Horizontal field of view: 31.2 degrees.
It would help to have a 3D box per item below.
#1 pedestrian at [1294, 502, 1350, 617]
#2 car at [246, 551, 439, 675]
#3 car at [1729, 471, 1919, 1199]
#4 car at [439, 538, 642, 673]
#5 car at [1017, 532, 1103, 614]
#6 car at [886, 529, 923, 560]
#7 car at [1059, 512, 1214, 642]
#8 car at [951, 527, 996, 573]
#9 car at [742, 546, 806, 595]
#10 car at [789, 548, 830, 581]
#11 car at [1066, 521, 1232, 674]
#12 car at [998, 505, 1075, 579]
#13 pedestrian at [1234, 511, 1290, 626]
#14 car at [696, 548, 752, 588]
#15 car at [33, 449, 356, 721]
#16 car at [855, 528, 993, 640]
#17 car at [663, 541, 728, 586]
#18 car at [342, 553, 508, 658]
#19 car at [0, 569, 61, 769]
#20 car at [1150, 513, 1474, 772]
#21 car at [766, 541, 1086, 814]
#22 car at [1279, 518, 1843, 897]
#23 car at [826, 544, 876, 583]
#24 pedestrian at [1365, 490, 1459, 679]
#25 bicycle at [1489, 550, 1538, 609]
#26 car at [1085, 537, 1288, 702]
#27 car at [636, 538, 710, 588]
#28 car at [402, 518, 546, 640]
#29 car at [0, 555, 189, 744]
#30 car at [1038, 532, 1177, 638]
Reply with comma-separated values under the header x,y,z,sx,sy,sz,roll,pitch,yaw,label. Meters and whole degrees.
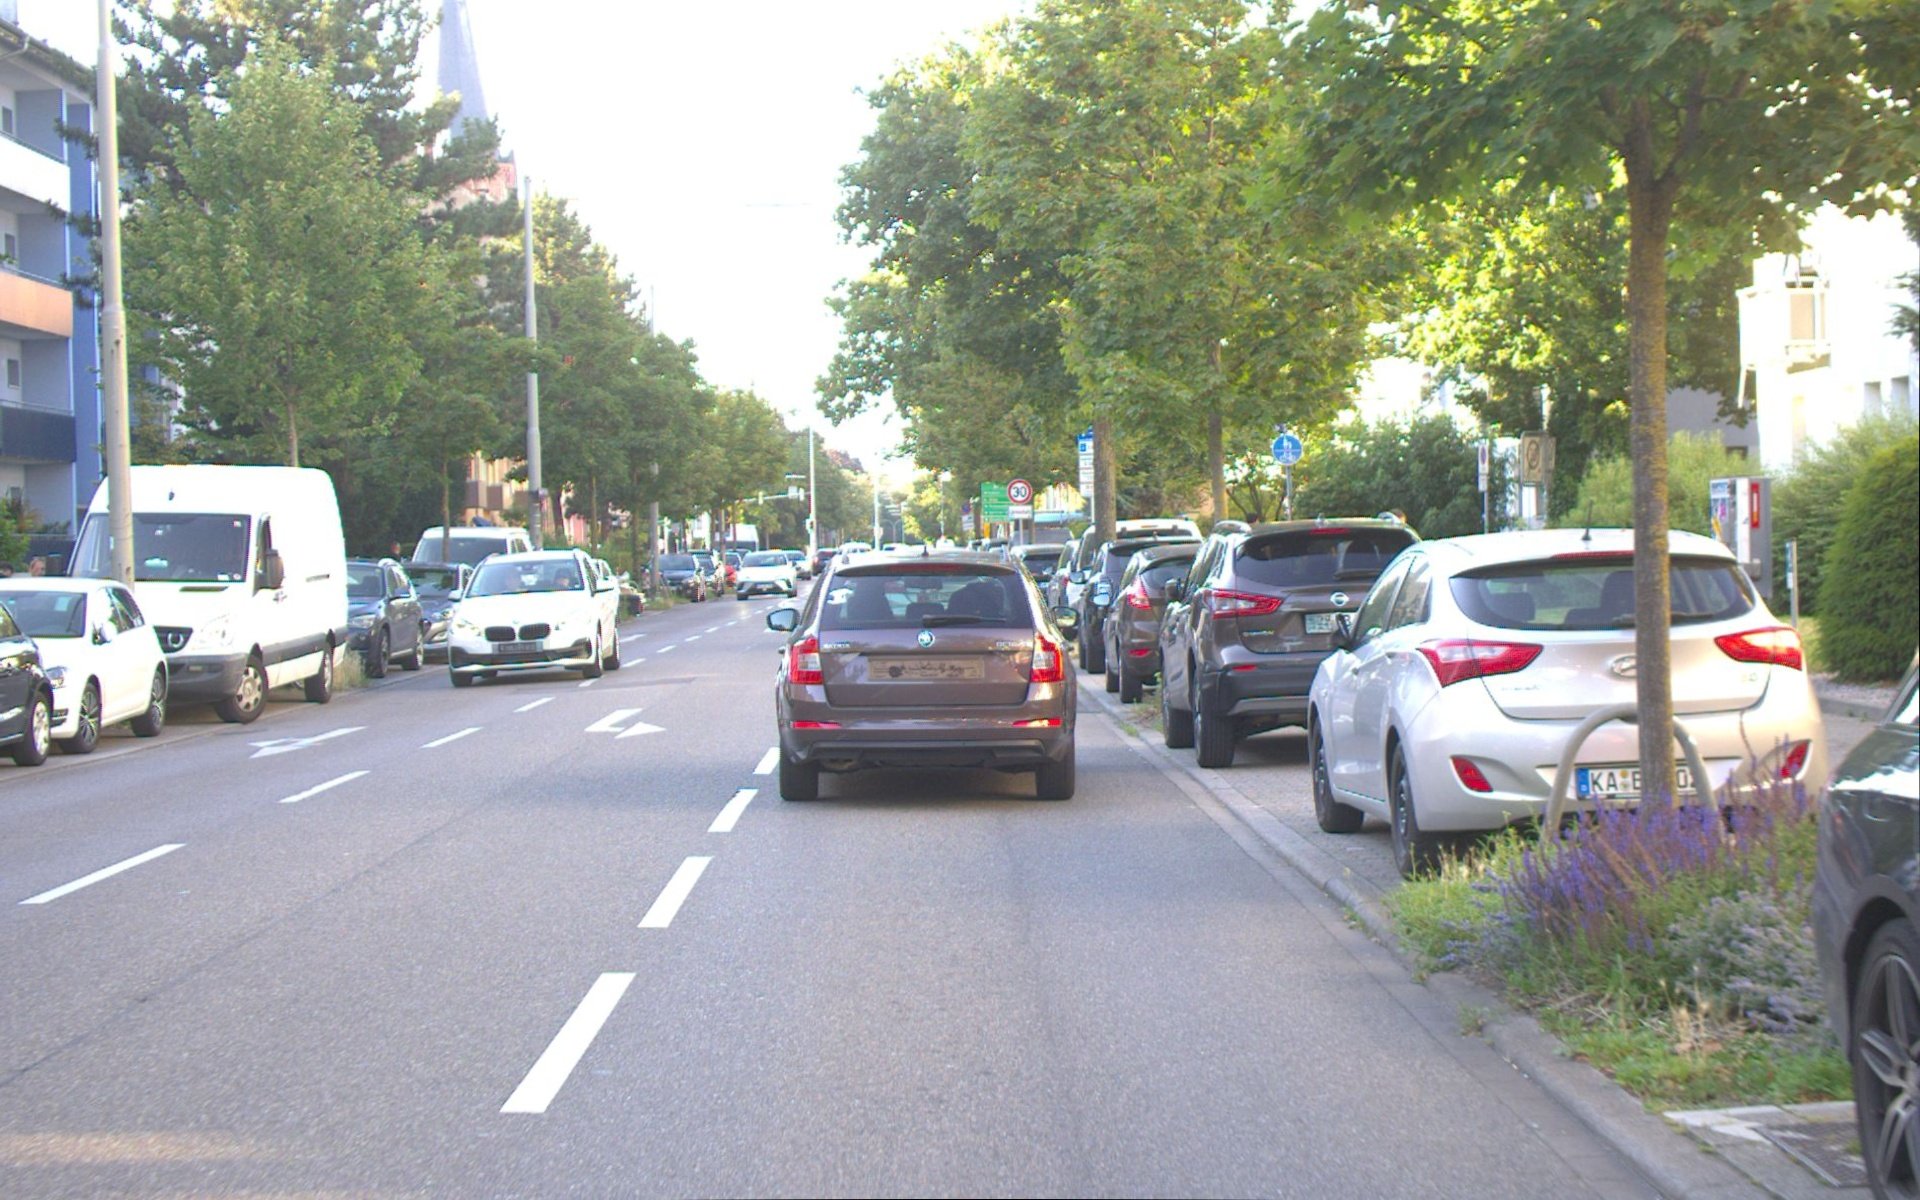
x,y,z,sx,sy,sz,roll,pitch,yaw,label
5.935,-0.664,56.384,0.799,1.854,0.950,-2,1,10,pedestrian
-8.213,0.132,46.073,1.672,1.537,4.473,-1,1,1,car
2.787,0.514,5.890,1.874,1.575,4.820,-2,1,1,car
-5.106,0.030,42.371,1.879,1.537,4.267,-1,1,1,car
2.092,-0.584,72.949,1.754,1.681,4.252,1,1,1,car
-2.993,-2.963,183.642,1.644,1.593,3.651,-1,1,-6,car
2.524,-0.355,50.072,1.800,1.802,4.424,1,1,-3,car
0.512,-1.988,137.463,1.754,1.799,4.000,1,1,0,car
-5.837,-0.949,108.346,1.781,1.489,3.971,1,1,0,car
-8.151,-1.936,185.789,1.993,1.744,4.001,-1,1,-6,car
2.197,-0.059,40.889,1.754,1.657,4.252,-2,1,1,car
1.973,-1.503,89.420,1.916,1.854,5.633,-1,1,1,car
4.993,-0.523,56.902,0.749,1.854,1.068,-2,1,-1,pedestrian
-9.036,-1.241,131.895,1.781,1.475,3.971,1,1,2,car
-7.987,-0.204,36.613,1.993,2.607,7.106,0,1,-1,car
-0.549,-0.219,50.584,1.892,1.501,3.790,3,0,-1,car
-8.879,-1.247,115.723,1.781,1.475,3.971,1,1,2,car
-7.940,0.052,51.309,1.692,1.478,4.143,-1,1,2,car
-7.939,0.511,25.461,1.612,1.468,3.813,1,1,-1,car
2.336,0.235,23.733,1.718,1.595,4.096,-1,1,-1,car
-0.153,0.395,20.954,1.754,1.487,4.000,1,1,1,car
2.621,0.396,16.010,1.718,1.489,4.394,-1,1,-2,car
-4.188,-1.406,131.890,1.780,1.475,3.971,1,1,-4,car
4.105,-0.142,31.252,0.788,1.694,0.807,0,0,4,pedestrian
9.099,-0.350,56.547,0.475,0.941,1.680,-2,1,-1,bicycle
2.158,0.148,33.617,1.613,1.461,3.959,-2,1,-1,car
-8.596,-1.121,103.205,1.781,1.475,4.033,1,1,2,car
-8.390,-0.385,59.767,1.868,2.024,5.301,0,1,-1,car
-8.110,0.381,30.318,1.706,1.487,4.059,2,1,-1,car
2.311,-0.260,54.831,1.754,1.551,4.253,-2,1,-3,car
